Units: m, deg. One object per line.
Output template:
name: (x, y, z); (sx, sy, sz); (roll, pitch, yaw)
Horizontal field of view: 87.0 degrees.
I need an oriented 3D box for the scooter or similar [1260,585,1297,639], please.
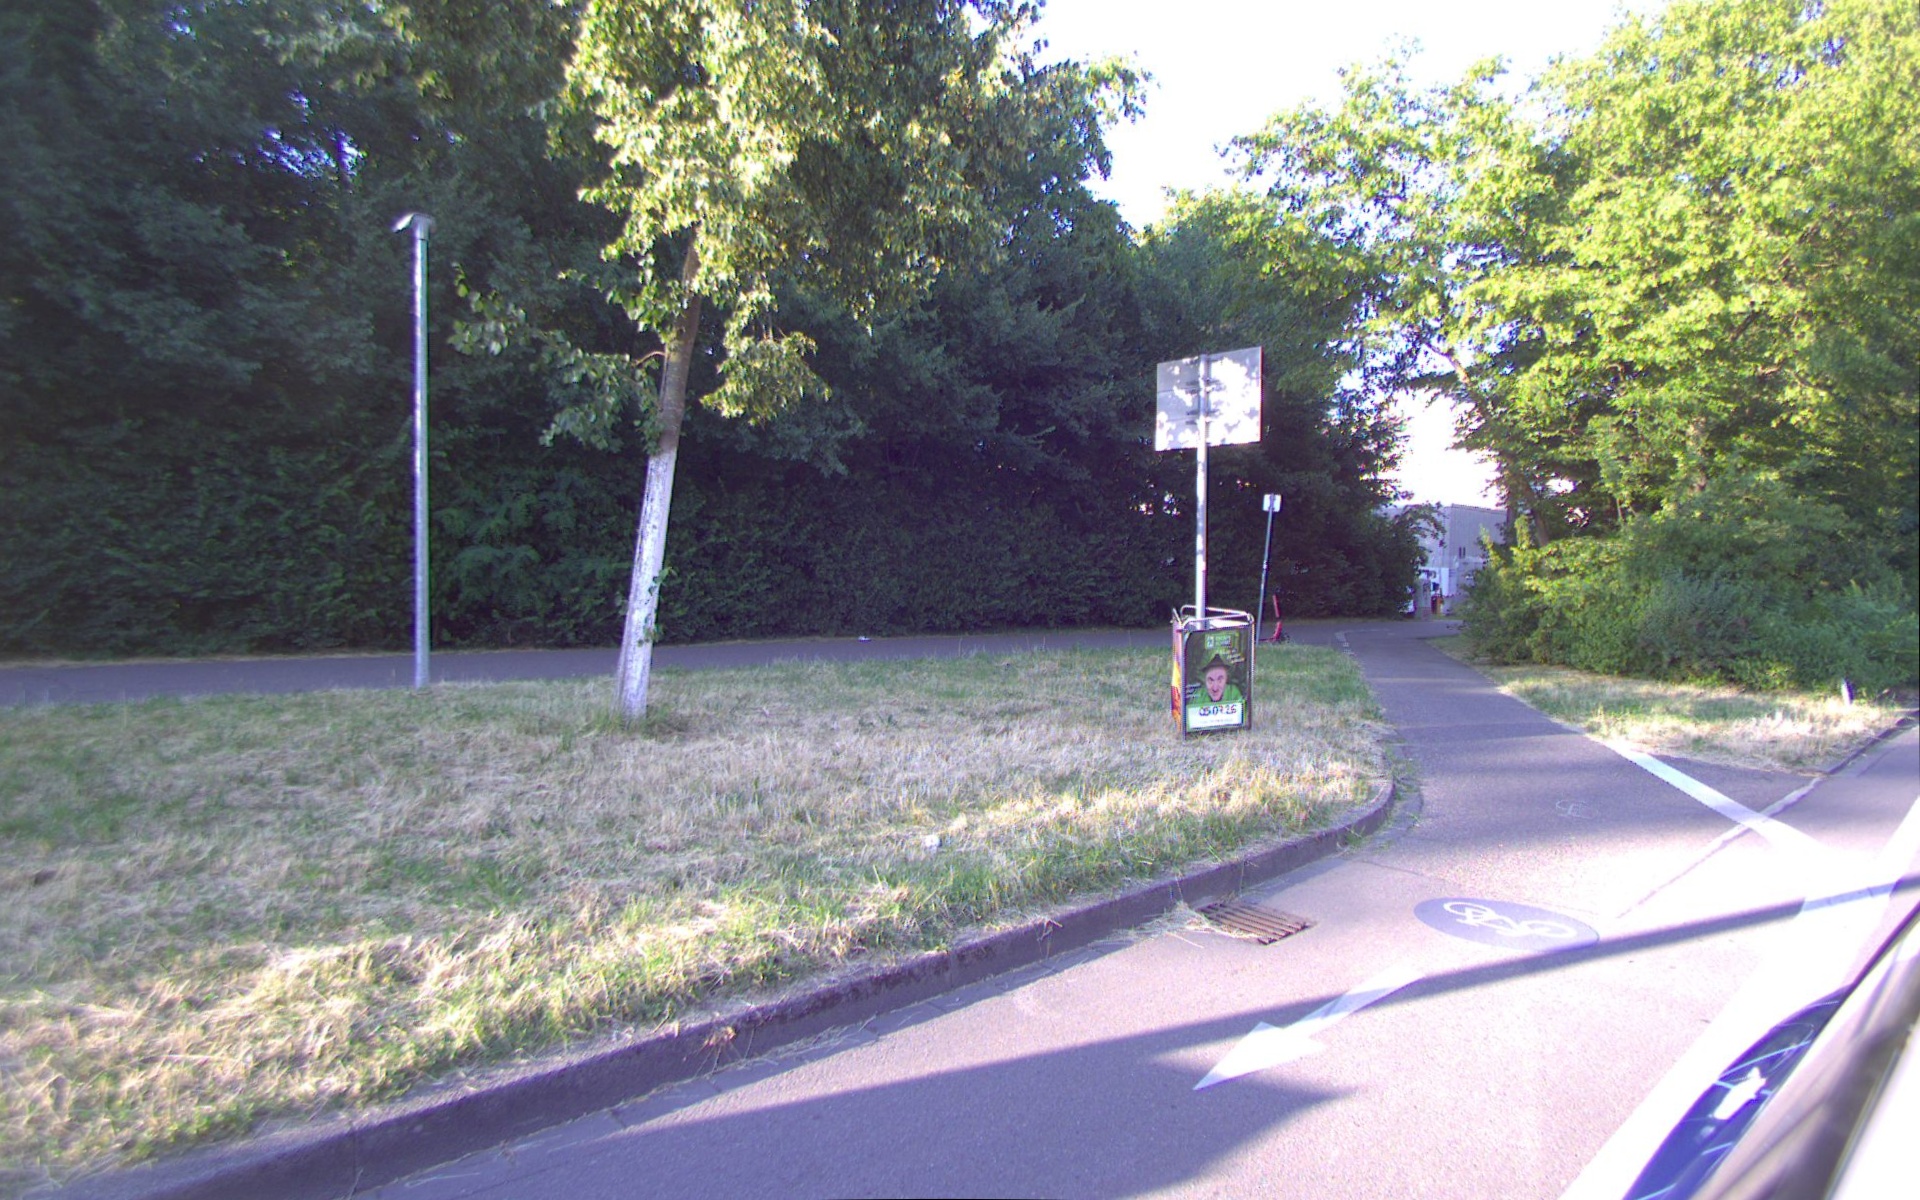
scooter or similar: (6.557, 0.254, 20.846); (0.819, 1.100, 0.194); (1, -1, -26)
